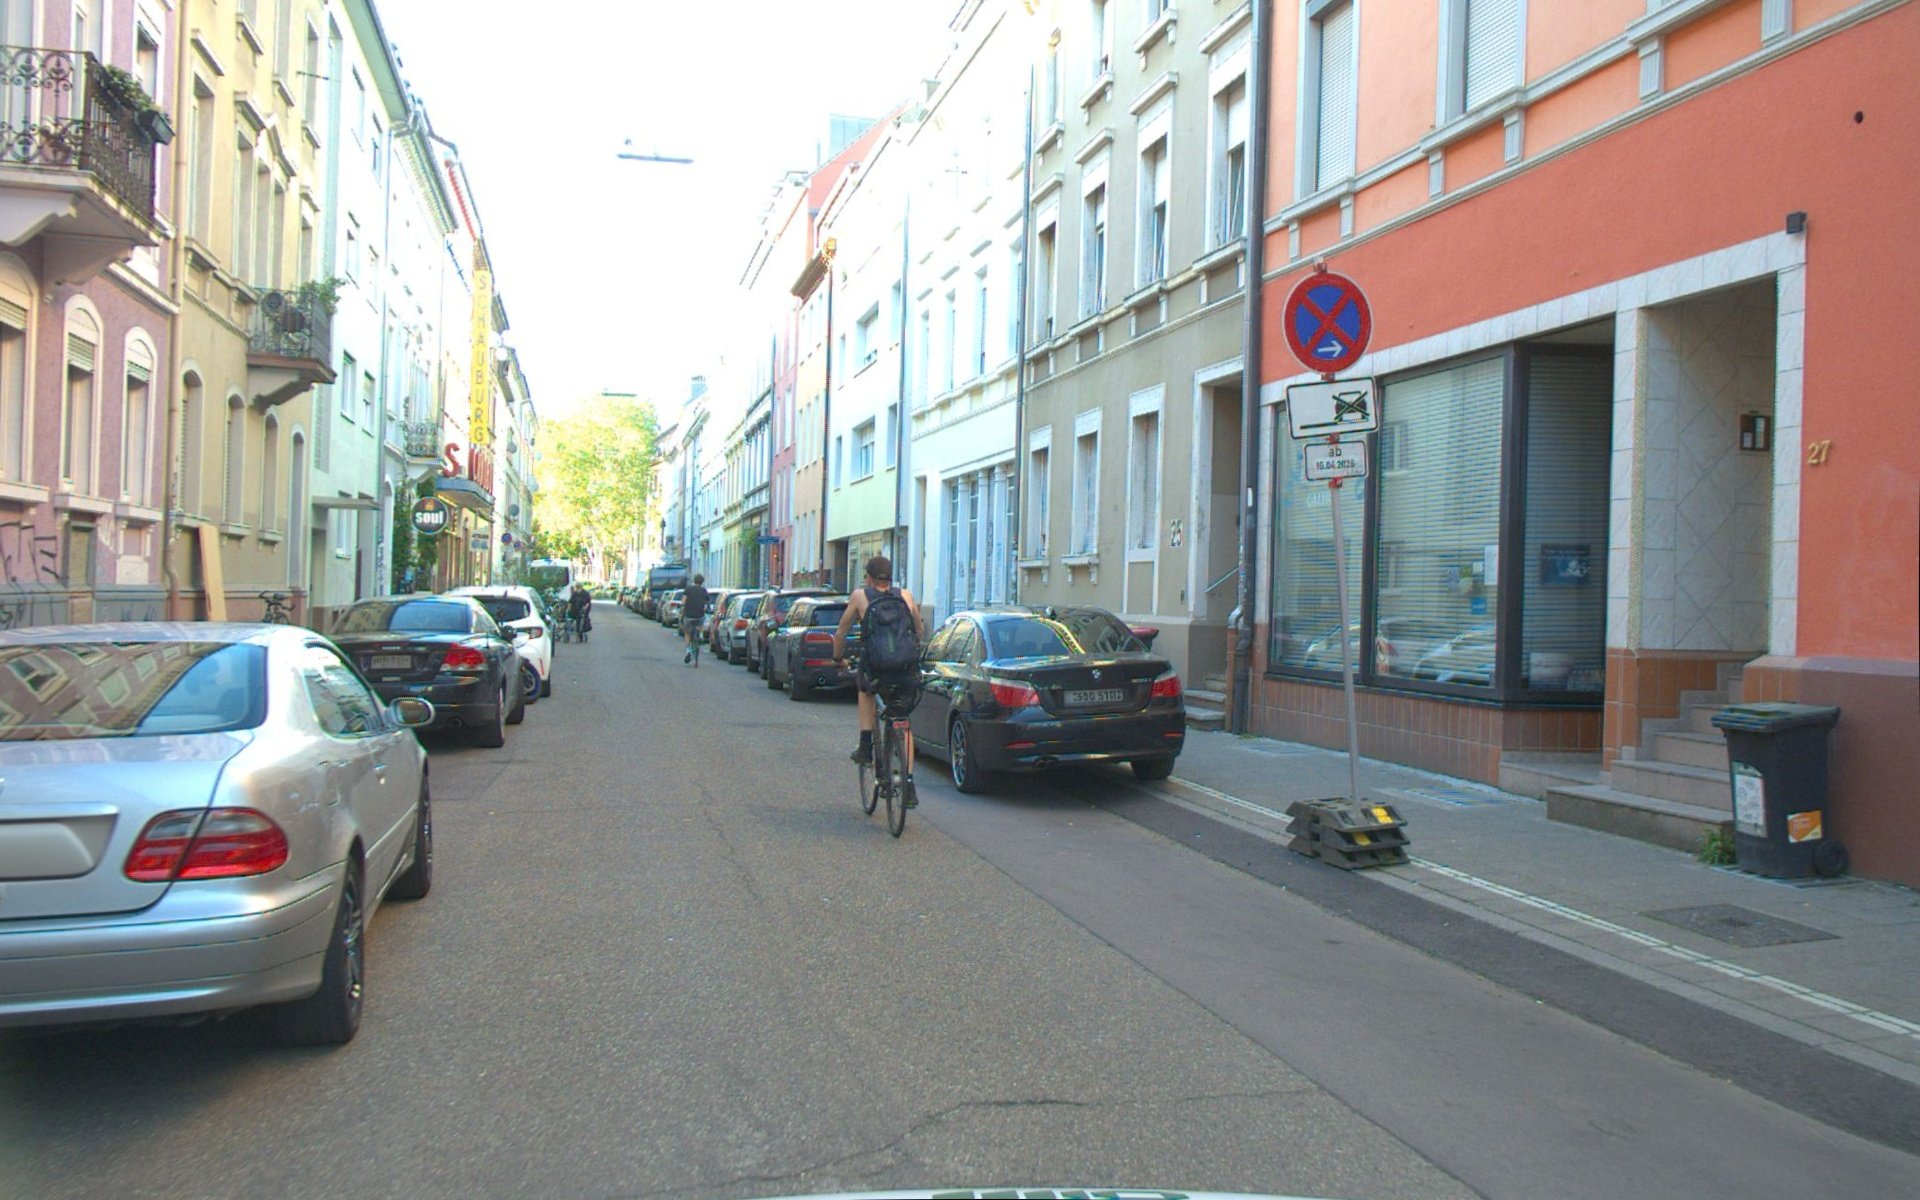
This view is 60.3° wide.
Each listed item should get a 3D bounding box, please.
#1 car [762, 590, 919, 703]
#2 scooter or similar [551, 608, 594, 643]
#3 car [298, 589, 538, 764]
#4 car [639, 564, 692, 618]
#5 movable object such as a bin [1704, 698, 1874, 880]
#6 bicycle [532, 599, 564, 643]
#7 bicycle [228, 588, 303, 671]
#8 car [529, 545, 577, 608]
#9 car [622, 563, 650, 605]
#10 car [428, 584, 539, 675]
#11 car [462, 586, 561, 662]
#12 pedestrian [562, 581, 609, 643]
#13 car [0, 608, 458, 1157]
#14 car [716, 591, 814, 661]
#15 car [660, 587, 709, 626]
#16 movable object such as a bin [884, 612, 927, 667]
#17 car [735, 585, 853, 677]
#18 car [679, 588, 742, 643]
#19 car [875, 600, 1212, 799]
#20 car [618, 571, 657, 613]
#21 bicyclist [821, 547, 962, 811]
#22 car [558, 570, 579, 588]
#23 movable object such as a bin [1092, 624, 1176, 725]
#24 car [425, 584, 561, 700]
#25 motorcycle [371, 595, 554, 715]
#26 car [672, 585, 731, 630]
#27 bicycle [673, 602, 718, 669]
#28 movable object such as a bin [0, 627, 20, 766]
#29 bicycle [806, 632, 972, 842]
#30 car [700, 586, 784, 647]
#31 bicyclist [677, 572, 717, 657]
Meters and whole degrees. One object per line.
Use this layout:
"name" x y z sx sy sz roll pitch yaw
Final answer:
"car" -1.891 0.640 25.063 1.785 1.548 3.987 -1 0 -13
"scooter or similar" -10.250 0.669 43.780 0.756 0.888 0.770 2 -1 26
"car" -5.222 0.655 16.443 1.680 1.407 4.345 2 1 -11
"car" -14.591 -0.432 81.716 2.268 2.582 6.747 -1 0 -13
"movable object such as a bin" 4.576 1.025 9.150 0.587 0.922 0.577 -1 -1 -15
"bicycle" -11.213 0.559 44.975 0.688 1.125 2.264 3 -1 -17
"bicycle" -9.920 0.406 23.682 0.582 1.108 2.072 3 -1 -12
"car" -17.130 -0.986 69.556 1.878 2.540 4.149 1 0 -15
"car" -29.950 -1.436 152.679 2.268 3.833 6.747 0 0 -13
"car" -8.251 0.469 28.897 1.643 1.467 3.755 -1 0 -13
"car" -9.190 0.457 34.109 1.642 1.467 3.744 -1 0 -10
"pedestrian" -10.012 0.328 44.209 0.756 1.606 0.899 2 -1 26
"car" -3.028 0.757 6.528 1.681 1.407 4.490 -1 0 -13
"car" -4.252 0.531 35.684 1.681 1.407 3.987 -1 0 -13
"car" -11.096 0.253 66.428 1.681 1.472 3.987 -1 0 -13
"movable object such as a bin" -1.124 0.807 33.929 0.792 1.094 0.676 -1 0 -9
"car" -3.141 0.529 30.692 1.681 1.583 3.987 -1 0 -13
"car" -7.595 0.444 50.104 1.593 1.577 3.987 -1 0 -13
"car" 0.532 0.739 14.838 1.785 1.463 4.774 -1 0 -13
"car" -20.766 -0.508 106.318 2.268 2.582 6.747 -1 0 -13
"bicyclist" -0.479 0.511 11.134 0.690 1.662 1.086 3 -1 -13
"car" -32.144 -1.714 135.867 1.643 1.467 4.151 -1 0 -13
"movable object such as a bin" 1.982 0.839 18.906 0.725 1.094 0.673 -1 0 -20
"car" -6.528 0.537 23.450 1.643 1.467 4.151 -1 0 -13
"motorcycle" -6.210 0.658 20.709 2.125 1.383 0.534 -2 1 -32
"car" -8.691 0.236 55.431 1.681 1.418 3.987 -1 0 -13
"bicycle" -5.245 0.683 32.725 0.690 1.229 2.334 1 1 -13
"movable object such as a bin" -6.941 0.667 11.497 0.534 0.961 0.486 3 -1 -12
"bicycle" -0.541 0.873 11.362 0.690 1.229 2.334 3 -1 -13
"car" -5.405 0.376 40.666 1.681 1.407 3.987 -1 0 -13
"bicyclist" -5.197 0.280 32.656 0.690 1.633 0.810 1 0 -14
